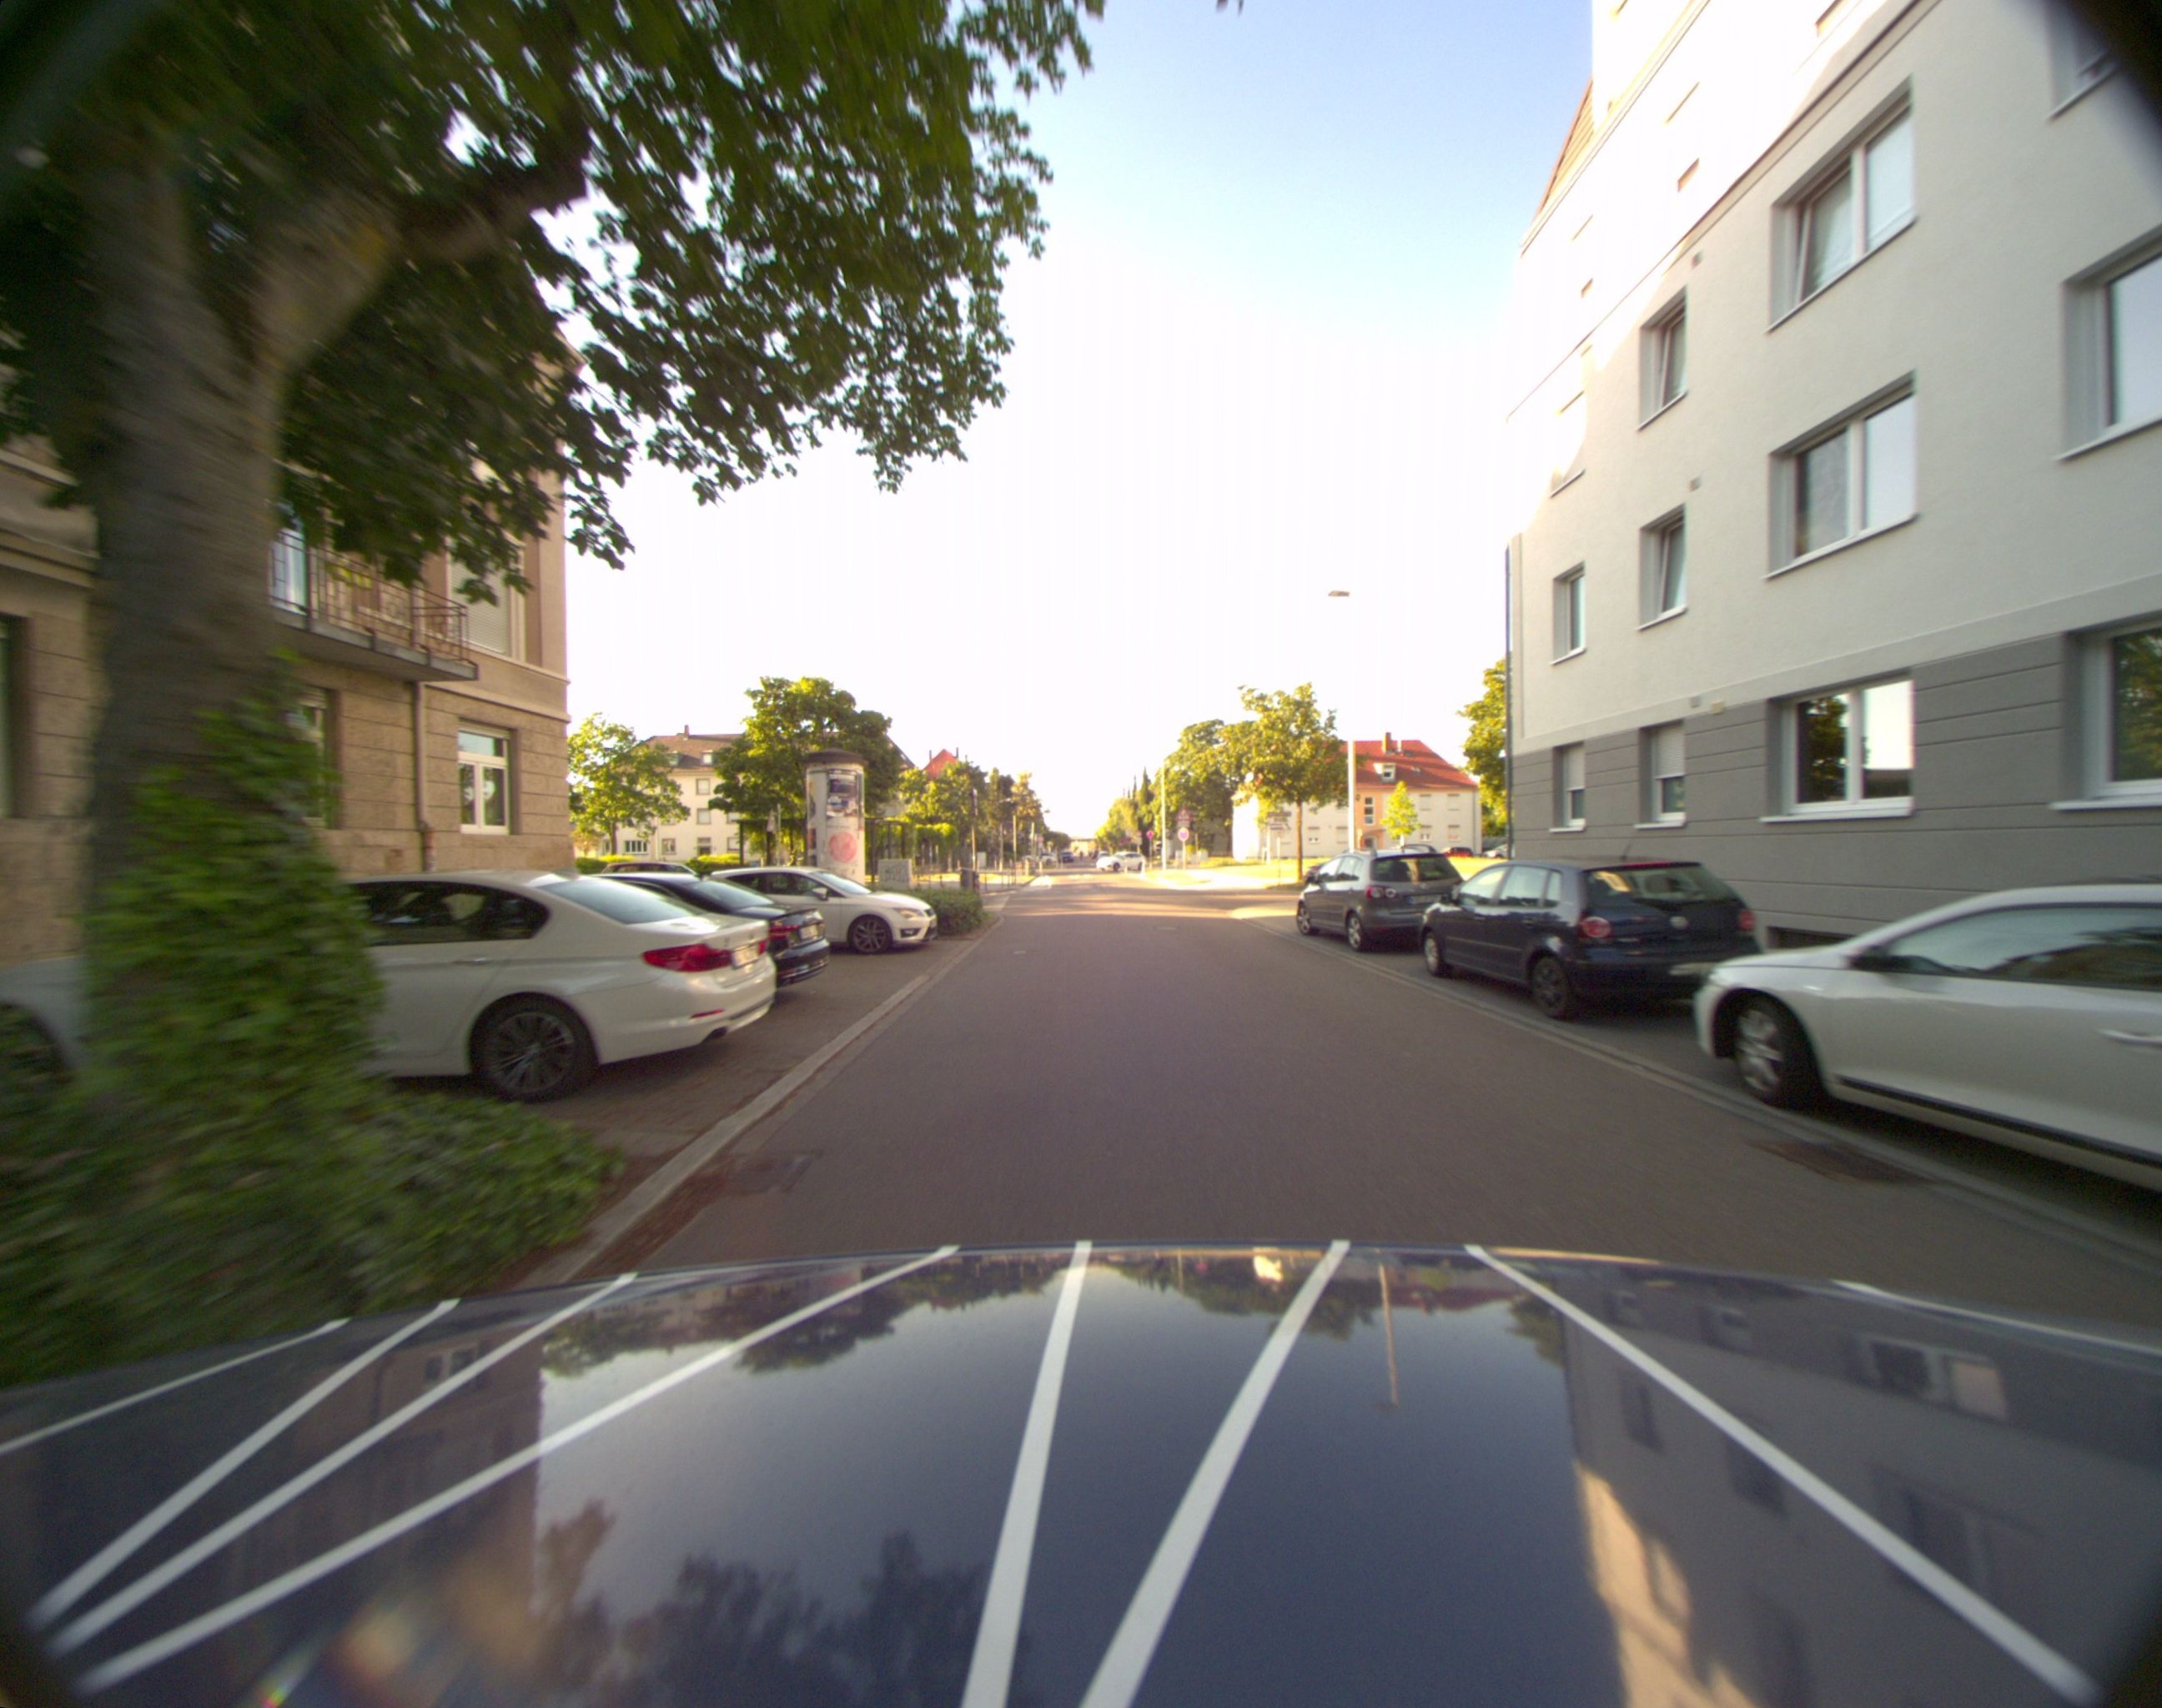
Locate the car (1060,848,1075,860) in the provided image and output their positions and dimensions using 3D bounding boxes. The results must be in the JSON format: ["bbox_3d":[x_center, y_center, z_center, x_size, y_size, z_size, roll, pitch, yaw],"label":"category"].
[{"bbox_3d":[-1.913,0.005,107.398,1.971,1.604,4.245,-1,1,-4],"label":"car"}]

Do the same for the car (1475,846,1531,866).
[{"bbox_3d":[37.941,0.163,68.407,3.998,1.685,1.851,-1,-1,-2],"label":"car"}]

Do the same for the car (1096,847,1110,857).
[{"bbox_3d":[3.408,-0.325,116.883,1.970,1.604,4.246,-1,1,-1],"label":"car"}]

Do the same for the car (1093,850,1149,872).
[{"bbox_3d":[3.307,0.573,61.999,4.308,1.685,1.866,0,-1,-35],"label":"car"}]

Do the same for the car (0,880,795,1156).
[{"bbox_3d":[-4.645,0.978,5.433,4.490,1.516,1.953,0,0,-6],"label":"car"}]

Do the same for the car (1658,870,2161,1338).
[{"bbox_3d":[4.813,0.932,2.988,1.889,1.582,4.089,-1,1,-2],"label":"car"}]

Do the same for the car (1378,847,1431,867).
[{"bbox_3d":[28.995,0.287,68.151,3.998,1.685,1.851,-1,-1,-2],"label":"car"}]

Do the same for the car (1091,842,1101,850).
[{"bbox_3d":[3.245,-1.811,167.680,1.971,1.604,4.246,-1,1,-2],"label":"car"}]

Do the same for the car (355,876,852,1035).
[{"bbox_3d":[-4.752,0.992,8.024,4.153,1.439,1.673,0,1,-1],"label":"car"}]

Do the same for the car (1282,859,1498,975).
[{"bbox_3d":[4.994,0.915,12.971,1.889,1.582,4.089,-1,1,-2],"label":"car"}]

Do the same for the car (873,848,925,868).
[{"bbox_3d":[-16.297,0.382,68.149,4.214,1.631,1.823,-1,-2,-2],"label":"car"}]

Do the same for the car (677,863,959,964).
[{"bbox_3d":[-4.230,0.939,12.727,4.059,1.497,1.861,0,1,-1],"label":"car"}]

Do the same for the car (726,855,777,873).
[{"bbox_3d":[-29.637,0.861,68.427,3.757,1.509,1.735,-1,1,0],"label":"car"}]

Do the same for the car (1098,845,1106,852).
[{"bbox_3d":[5.091,-1.425,184.958,1.970,1.604,4.246,-1,1,-1],"label":"car"}]

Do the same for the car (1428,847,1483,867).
[{"bbox_3d":[33.619,0.247,68.209,3.998,1.685,1.851,-1,-1,-2],"label":"car"}]

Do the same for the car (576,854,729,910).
[{"bbox_3d":[-14.287,0.925,25.524,4.085,1.730,1.812,-1,-1,-2],"label":"car"}]

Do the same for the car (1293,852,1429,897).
[{"bbox_3d":[11.286,0.797,30.804,4.835,1.659,1.788,-1,1,1],"label":"car"}]

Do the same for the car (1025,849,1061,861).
[{"bbox_3d":[-5.109,0.105,103.117,4.835,1.604,1.971,0,1,-2],"label":"car"}]

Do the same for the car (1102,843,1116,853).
[{"bbox_3d":[4.479,-1.010,122.495,1.970,1.604,4.246,-1,1,-1],"label":"car"}]

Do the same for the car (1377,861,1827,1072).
[{"bbox_3d":[4.977,0.911,8.110,1.889,1.582,4.089,-1,1,-2],"label":"car"}]

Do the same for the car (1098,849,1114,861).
[{"bbox_3d":[3.534,0.131,108.225,1.970,1.604,4.246,-1,1,-1],"label":"car"}]

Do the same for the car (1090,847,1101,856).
[{"bbox_3d":[2.868,-0.508,153.559,1.970,1.604,4.246,-1,1,-1],"label":"car"}]
